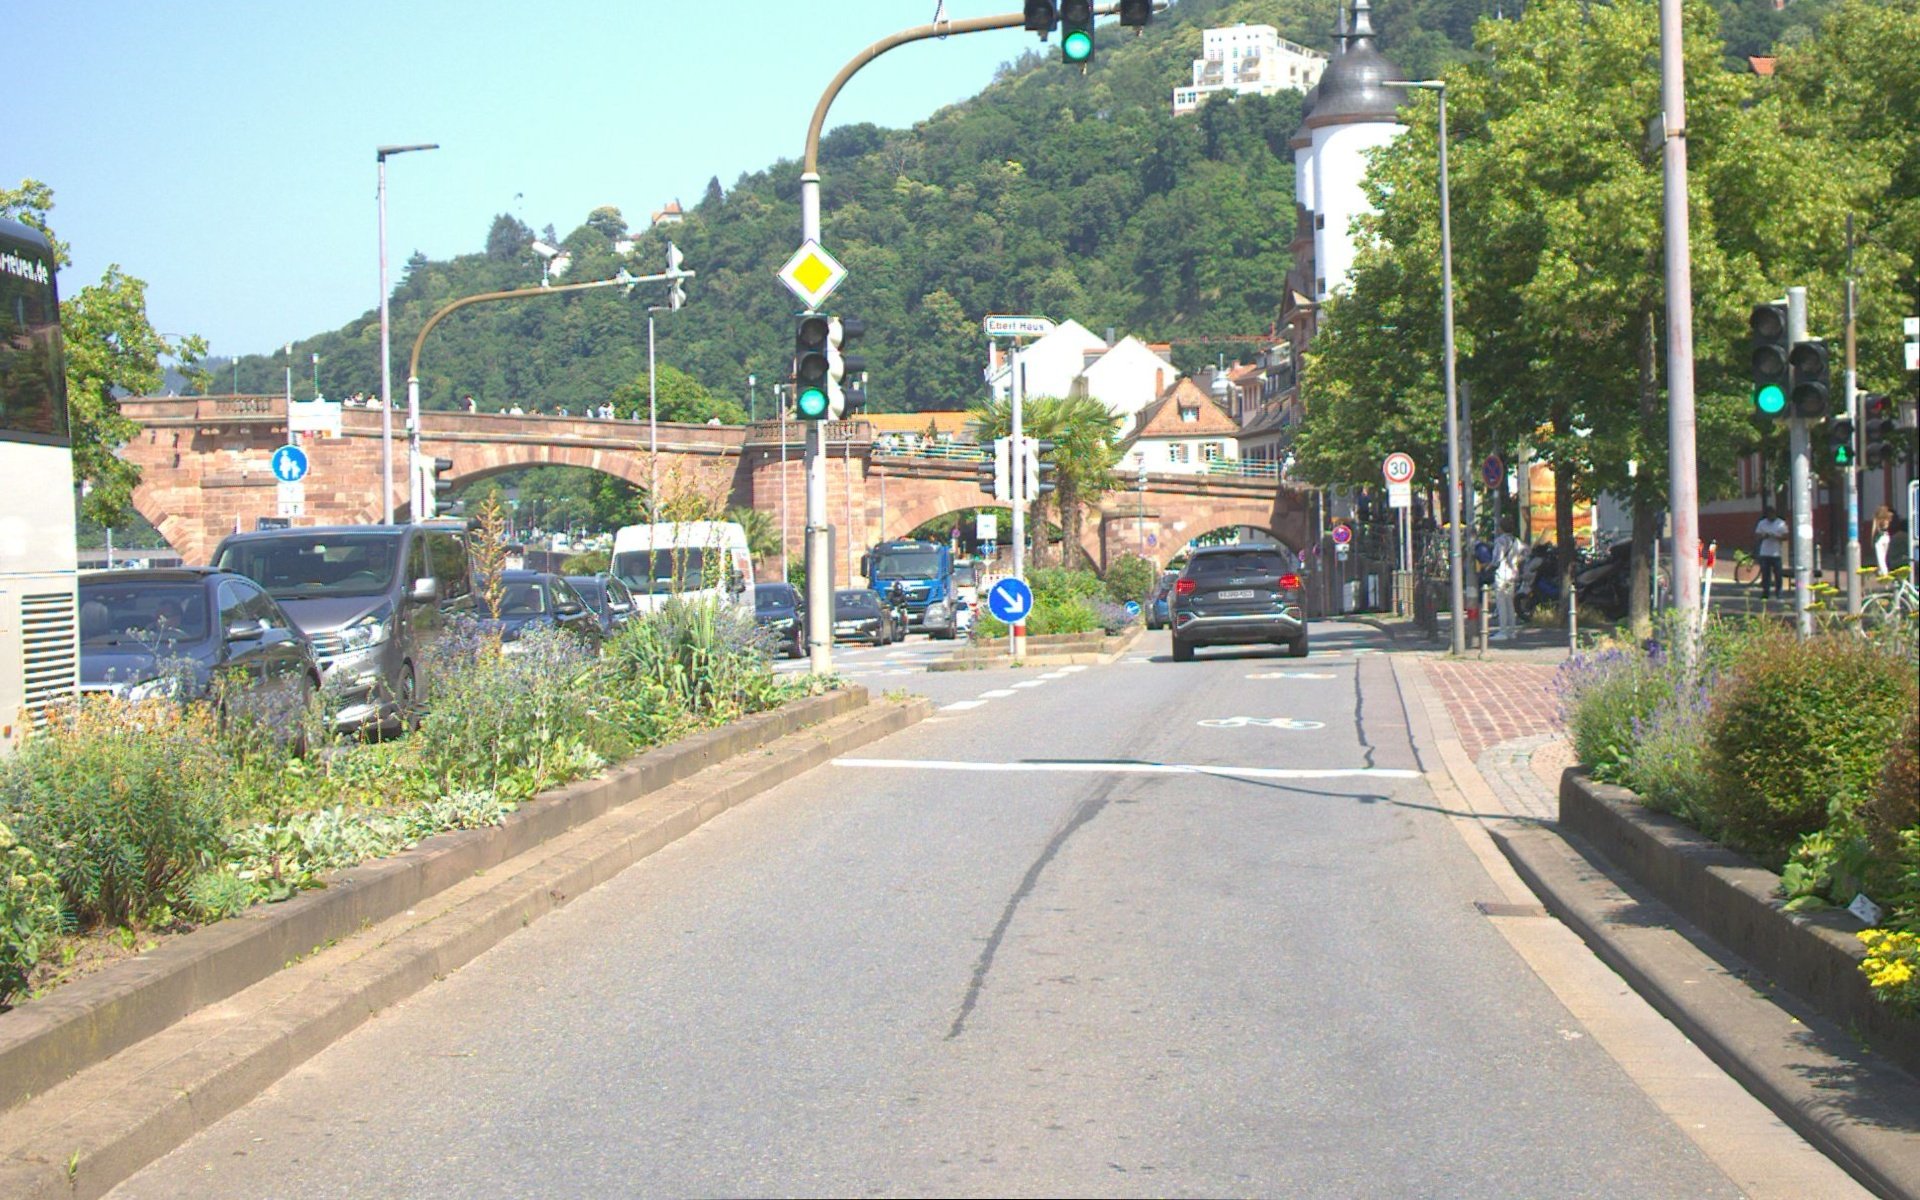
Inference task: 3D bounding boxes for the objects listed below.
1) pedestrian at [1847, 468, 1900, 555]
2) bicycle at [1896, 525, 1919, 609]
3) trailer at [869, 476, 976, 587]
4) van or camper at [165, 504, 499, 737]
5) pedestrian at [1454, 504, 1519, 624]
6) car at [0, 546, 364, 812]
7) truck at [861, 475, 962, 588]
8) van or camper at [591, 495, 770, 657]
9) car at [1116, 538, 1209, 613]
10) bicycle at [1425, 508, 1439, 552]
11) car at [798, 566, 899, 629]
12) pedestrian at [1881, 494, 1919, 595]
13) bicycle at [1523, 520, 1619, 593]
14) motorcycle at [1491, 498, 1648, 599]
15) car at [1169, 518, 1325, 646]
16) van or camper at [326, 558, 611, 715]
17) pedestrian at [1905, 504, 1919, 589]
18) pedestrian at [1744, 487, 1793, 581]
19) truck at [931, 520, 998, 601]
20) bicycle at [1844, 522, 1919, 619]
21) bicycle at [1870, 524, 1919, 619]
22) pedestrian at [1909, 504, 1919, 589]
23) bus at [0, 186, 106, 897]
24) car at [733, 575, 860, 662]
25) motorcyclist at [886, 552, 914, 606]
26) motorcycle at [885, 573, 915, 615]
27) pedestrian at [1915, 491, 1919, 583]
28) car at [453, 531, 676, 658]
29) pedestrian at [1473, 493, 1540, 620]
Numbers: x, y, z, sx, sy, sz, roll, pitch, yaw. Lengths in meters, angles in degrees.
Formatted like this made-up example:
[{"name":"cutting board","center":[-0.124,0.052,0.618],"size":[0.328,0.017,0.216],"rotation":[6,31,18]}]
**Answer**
[{"name":"pedestrian","center":[20.650,-1.995,77.703],"size":[0.969,1.908,0.747],"rotation":[-3,1,5]},{"name":"bicycle","center":[12.683,-0.455,44.839],"size":[0.595,1.064,2.063],"rotation":[-2,1,23]},{"name":"trailer","center":[-1.166,-2.215,111.899],"size":[2.658,3.391,8.825],"rotation":[-2,1,4]},{"name":"van or camper","center":[-5.616,0.129,31.441],"size":[1.993,1.867,5.180],"rotation":[-3,1,0]},{"name":"pedestrian","center":[7.602,-0.524,49.650],"size":[0.693,1.671,0.764],"rotation":[-3,1,-4]},{"name":"car","center":[-5.797,0.490,24.834],"size":[1.993,1.593,5.157],"rotation":[-4,1,0]},{"name":"truck","center":[-1.481,-2.146,107.462],"size":[2.658,3.391,4.449],"rotation":[-2,1,4]},{"name":"van or camper","center":[-4.561,-0.402,56.867],"size":[1.994,2.441,5.493],"rotation":[-3,0,4]},{"name":"car","center":[4.610,-0.574,77.799],"size":[1.994,1.548,4.831],"rotation":[-2,1,4]},{"name":"bicycle","center":[11.872,-1.766,86.505],"size":[0.250,1.092,1.488],"rotation":[0,1,4]},{"name":"car","center":[-2.754,-0.051,85.825],"size":[1.952,1.408,4.218],"rotation":[-4,-1,5]},{"name":"pedestrian","center":[14.265,-0.843,51.978],"size":[0.459,1.512,0.690],"rotation":[-1,1,-4]},{"name":"bicycle","center":[10.038,-0.718,56.457],"size":[1.484,1.116,0.251],"rotation":[-3,1,-1]},{"name":"motorcycle","center":[9.411,-0.789,53.146],"size":[0.762,1.460,2.297],"rotation":[-2,0,-45]},{"name":"car","center":[3.808,-0.199,46.313],"size":[1.927,1.548,4.831],"rotation":[1,-2,3]},{"name":"van or camper","center":[-5.212,0.340,37.175],"size":[1.994,1.471,5.065],"rotation":[-3,1,4]},{"name":"pedestrian","center":[14.818,-0.813,52.288],"size":[0.625,1.277,0.754],"rotation":[0,1,-4]},{"name":"pedestrian","center":[14.343,-1.170,60.999],"size":[0.707,1.647,0.707],"rotation":[-2,1,5]},{"name":"truck","center":[0.219,-1.735,149.187],"size":[2.658,3.391,5.135],"rotation":[-2,1,2]},{"name":"bicycle","center":[12.112,-0.365,43.008],"size":[2.000,1.194,0.521],"rotation":[1,2,16]},{"name":"bicycle","center":[12.534,-0.358,43.415],"size":[2.013,1.194,0.521],"rotation":[0,2,16]},{"name":"pedestrian","center":[14.487,-0.802,50.714],"size":[0.693,1.248,0.764],"rotation":[-2,1,-4]},{"name":"bus","center":[-6.095,-0.235,12.611],"size":[2.631,3.552,12.983],"rotation":[-2,0,0]},{"name":"car","center":[-3.111,0.328,66.352],"size":[1.819,1.451,4.928],"rotation":[-4,1,4]},{"name":"motorcyclist","center":[-1.685,-0.596,96.523],"size":[0.736,1.465,1.011],"rotation":[-2,1,0]},{"name":"motorcycle","center":[-1.689,-0.178,96.556],"size":[0.757,1.128,2.456],"rotation":[-2,1,0]},{"name":"pedestrian","center":[14.736,-0.947,51.602],"size":[0.625,1.377,0.542],"rotation":[0,1,-4]},{"name":"car","center":[-4.966,-0.111,43.815],"size":[1.952,1.404,4.570],"rotation":[-4,1,4]},{"name":"pedestrian","center":[7.808,-0.620,49.131],"size":[0.693,1.765,0.764],"rotation":[-3,1,-4]}]
